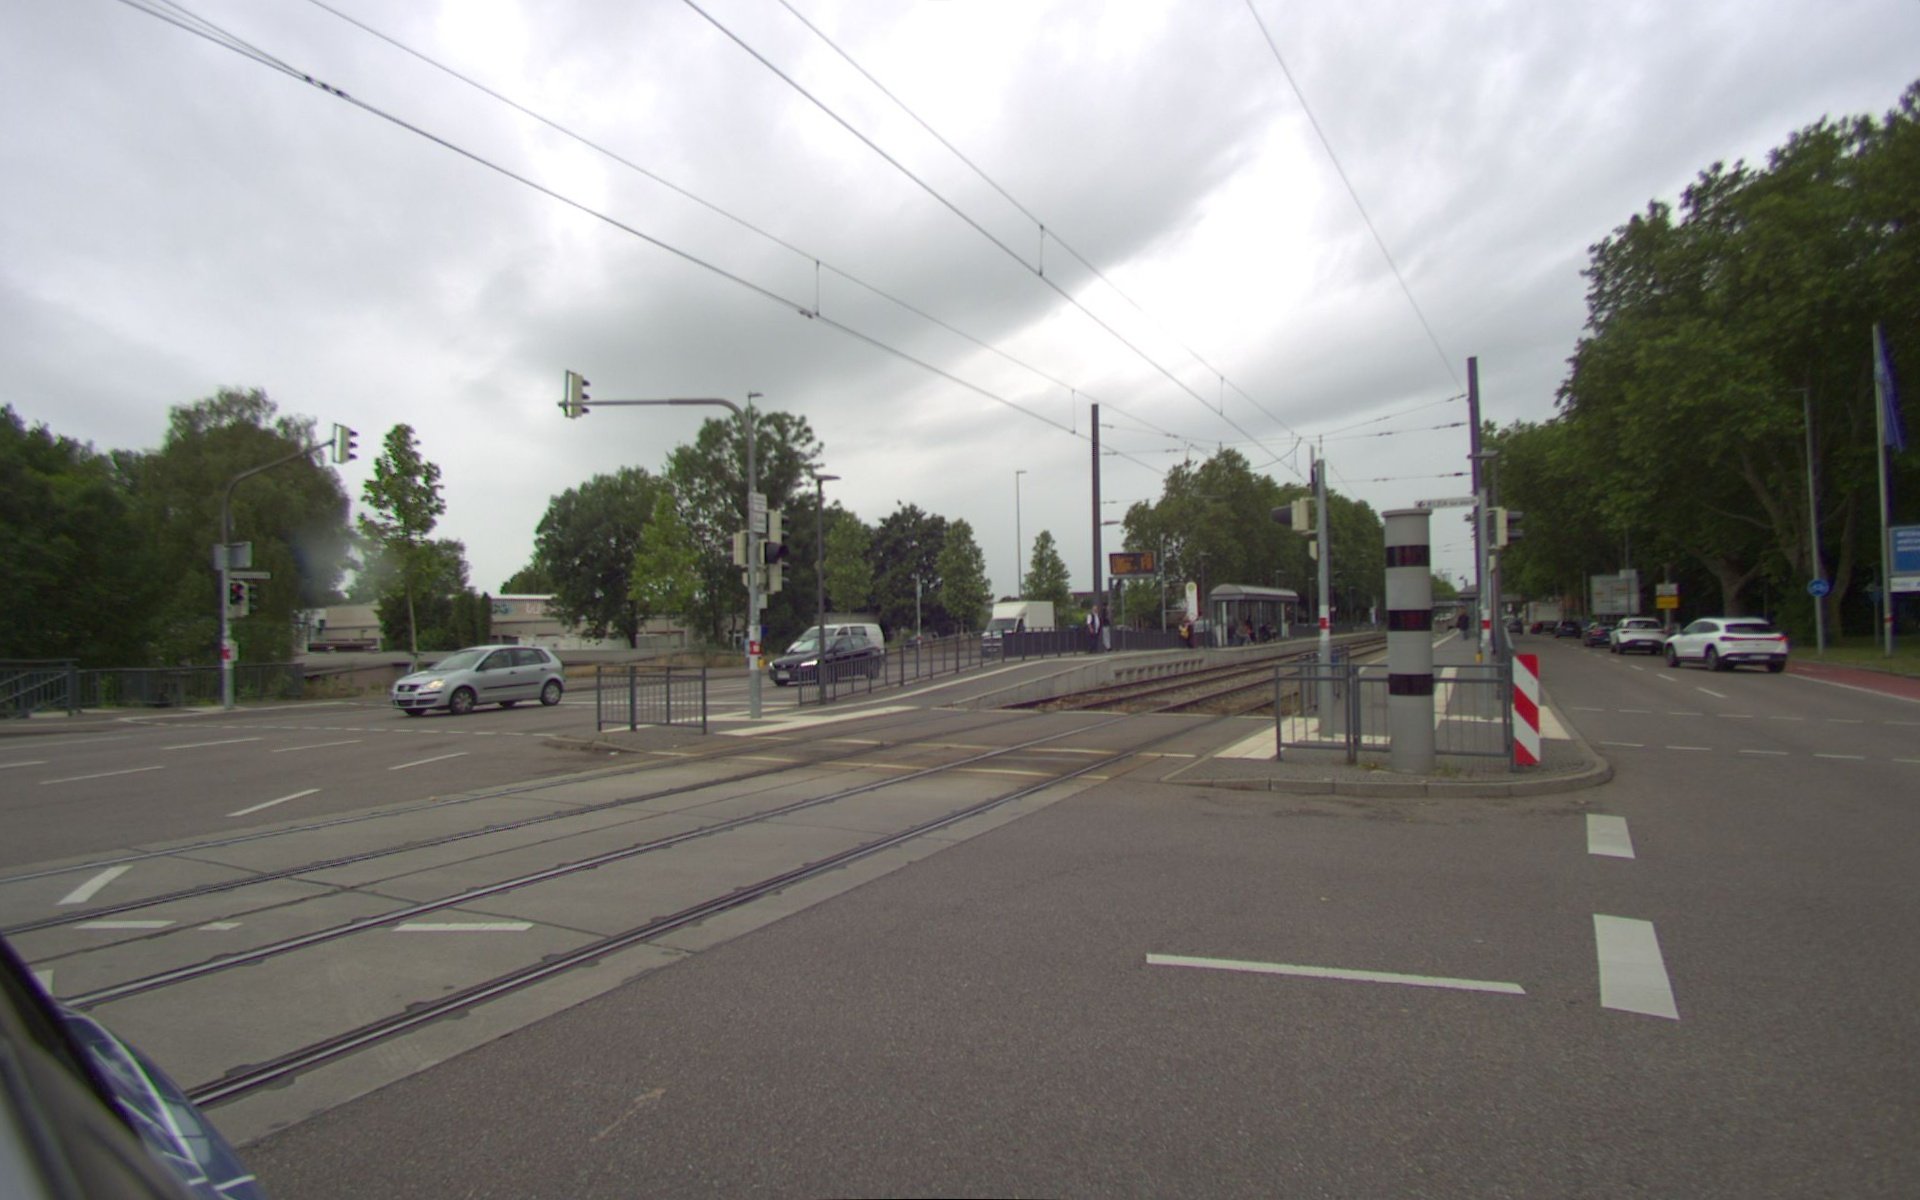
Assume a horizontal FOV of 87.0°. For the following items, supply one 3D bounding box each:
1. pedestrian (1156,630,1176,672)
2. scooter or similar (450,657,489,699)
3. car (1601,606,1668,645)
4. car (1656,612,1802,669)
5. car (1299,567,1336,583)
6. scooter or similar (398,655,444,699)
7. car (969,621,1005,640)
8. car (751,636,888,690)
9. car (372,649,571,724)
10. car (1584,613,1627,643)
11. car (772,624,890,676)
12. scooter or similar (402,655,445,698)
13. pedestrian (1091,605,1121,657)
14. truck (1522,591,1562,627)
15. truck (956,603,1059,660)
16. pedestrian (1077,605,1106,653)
[{"bbox_3d":[8.906,2.201,43.719,0.532,1.755,0.540,-2,-2,-28],"label":"pedestrian"},{"bbox_3d":[-15.470,2.441,31.929,0.374,1.224,1.035,-2,1,35],"label":"scooter or similar"},{"bbox_3d":[30.263,1.106,45.525,1.786,1.597,4.110,0,0,23],"label":"car"},{"bbox_3d":[23.616,1.191,31.304,1.874,1.597,4.393,-1,-1,12],"label":"car"},{"bbox_3d":[42.731,-2.970,120.975,3.976,1.519,1.795,-4,-2,25],"label":"car"},{"bbox_3d":[-16.214,2.311,30.439,0.477,1.252,1.141,-2,-2,35],"label":"scooter or similar"},{"bbox_3d":[3.070,3.471,115.588,2.307,2.029,4.515,-4,-4,28],"label":"car"},{"bbox_3d":[-4.168,1.864,30.660,1.990,1.401,4.303,-4,-3,27],"label":"car"},{"bbox_3d":[-10.855,1.899,22.757,1.674,1.430,3.815,-4,-3,27],"label":"car"},{"bbox_3d":[35.292,1.498,55.385,1.626,1.528,3.391,1,1,27],"label":"car"},{"bbox_3d":[-5.150,1.971,41.084,2.092,1.894,5.068,-4,-3,29],"label":"car"},{"bbox_3d":[-16.415,2.338,30.987,0.390,1.252,1.143,-2,-2,30],"label":"scooter or similar"},{"bbox_3d":[5.144,1.093,35.721,0.785,1.755,0.580,-4,-2,32],"label":"pedestrian"},{"bbox_3d":[62.170,1.005,108.310,3.246,3.691,9.803,0,-1,27],"label":"truck"},{"bbox_3d":[2.758,1.736,56.830,2.820,2.946,6.471,-4,-3,33],"label":"truck"},{"bbox_3d":[4.395,0.965,33.827,0.709,1.572,0.626,-4,-2,32],"label":"pedestrian"}]
